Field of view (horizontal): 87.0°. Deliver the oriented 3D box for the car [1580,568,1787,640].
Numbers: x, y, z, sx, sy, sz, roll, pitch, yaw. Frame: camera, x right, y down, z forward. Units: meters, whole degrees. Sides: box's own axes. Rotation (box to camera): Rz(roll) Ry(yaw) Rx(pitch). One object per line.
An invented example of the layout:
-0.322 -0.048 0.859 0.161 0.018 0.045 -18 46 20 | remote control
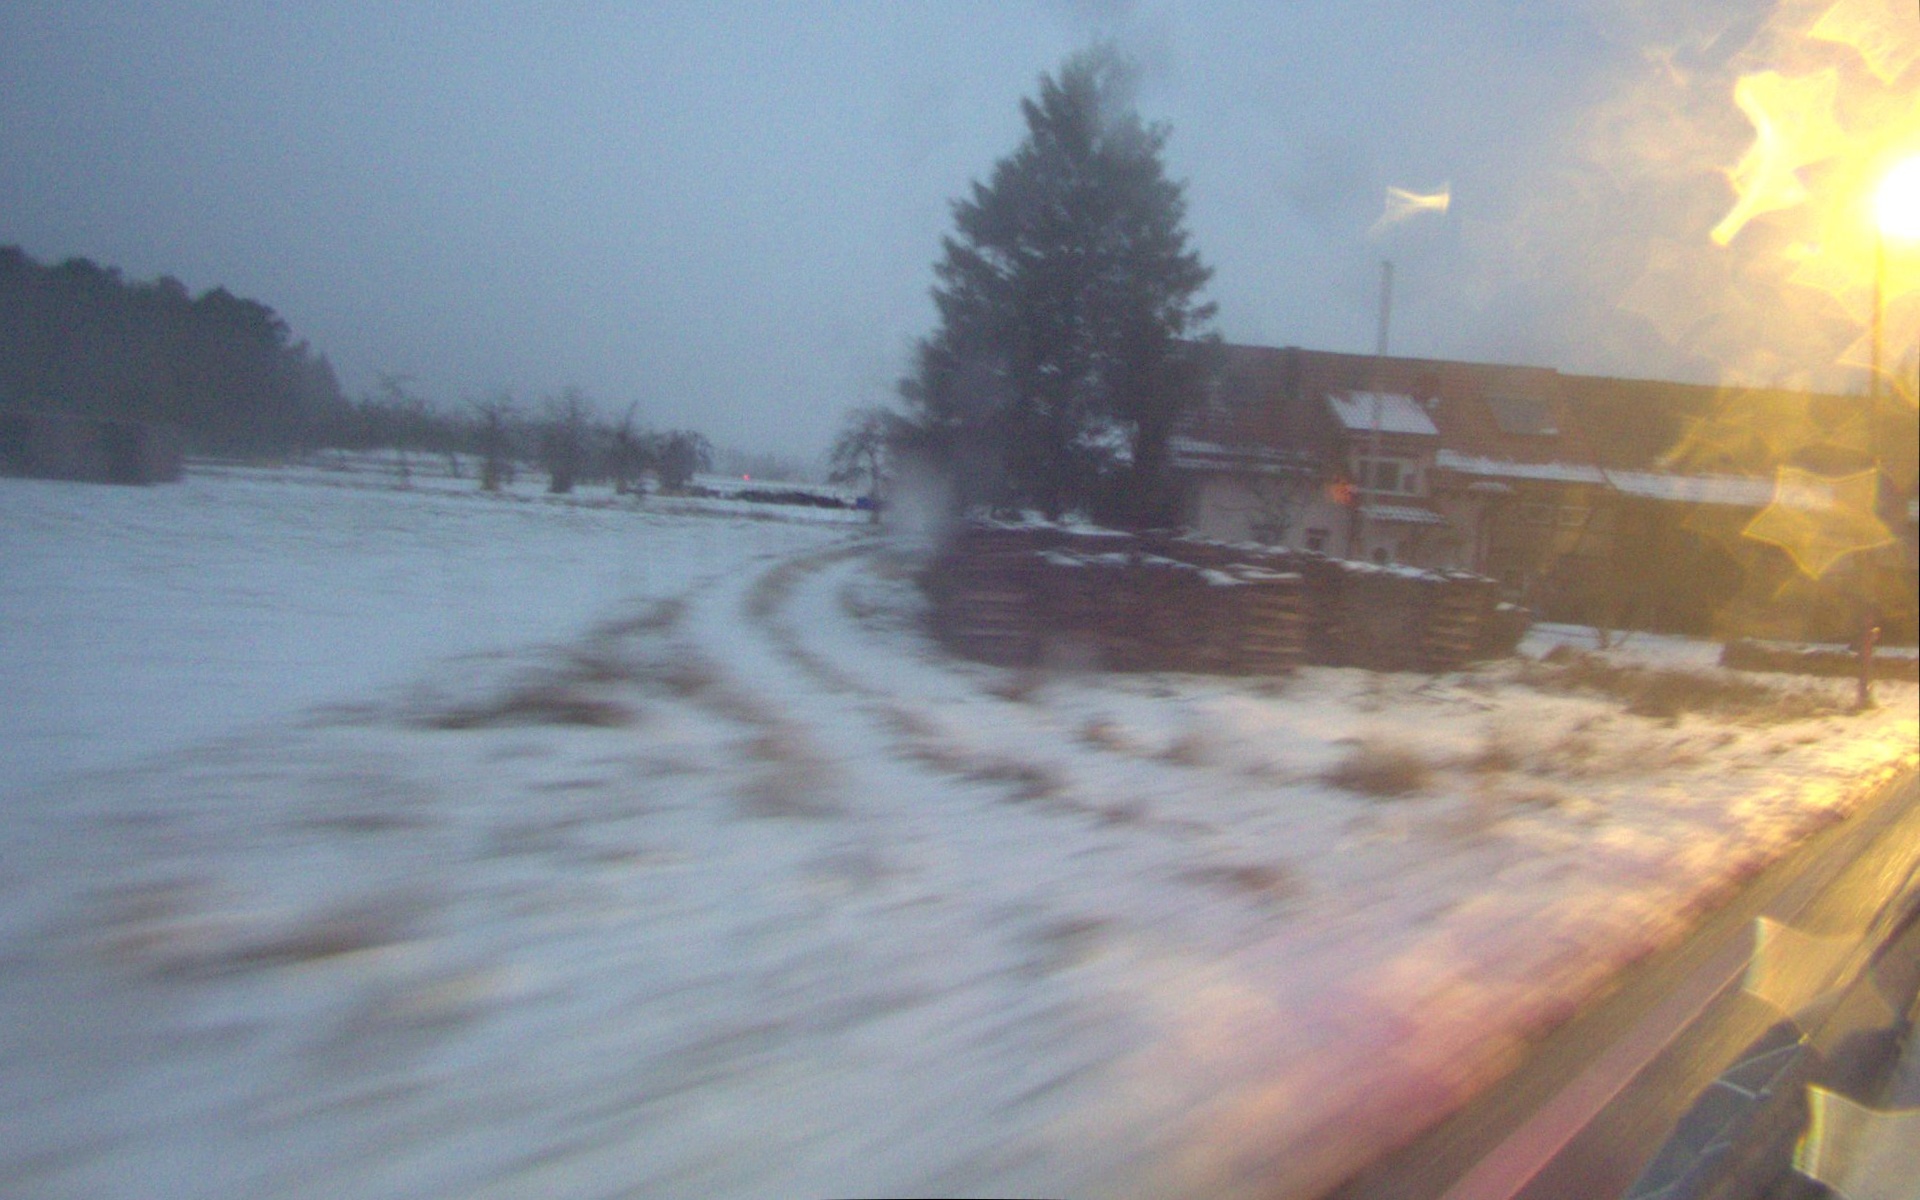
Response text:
20.754 0.073 29.250 1.825 1.677 4.417 2 3 -31 | car
